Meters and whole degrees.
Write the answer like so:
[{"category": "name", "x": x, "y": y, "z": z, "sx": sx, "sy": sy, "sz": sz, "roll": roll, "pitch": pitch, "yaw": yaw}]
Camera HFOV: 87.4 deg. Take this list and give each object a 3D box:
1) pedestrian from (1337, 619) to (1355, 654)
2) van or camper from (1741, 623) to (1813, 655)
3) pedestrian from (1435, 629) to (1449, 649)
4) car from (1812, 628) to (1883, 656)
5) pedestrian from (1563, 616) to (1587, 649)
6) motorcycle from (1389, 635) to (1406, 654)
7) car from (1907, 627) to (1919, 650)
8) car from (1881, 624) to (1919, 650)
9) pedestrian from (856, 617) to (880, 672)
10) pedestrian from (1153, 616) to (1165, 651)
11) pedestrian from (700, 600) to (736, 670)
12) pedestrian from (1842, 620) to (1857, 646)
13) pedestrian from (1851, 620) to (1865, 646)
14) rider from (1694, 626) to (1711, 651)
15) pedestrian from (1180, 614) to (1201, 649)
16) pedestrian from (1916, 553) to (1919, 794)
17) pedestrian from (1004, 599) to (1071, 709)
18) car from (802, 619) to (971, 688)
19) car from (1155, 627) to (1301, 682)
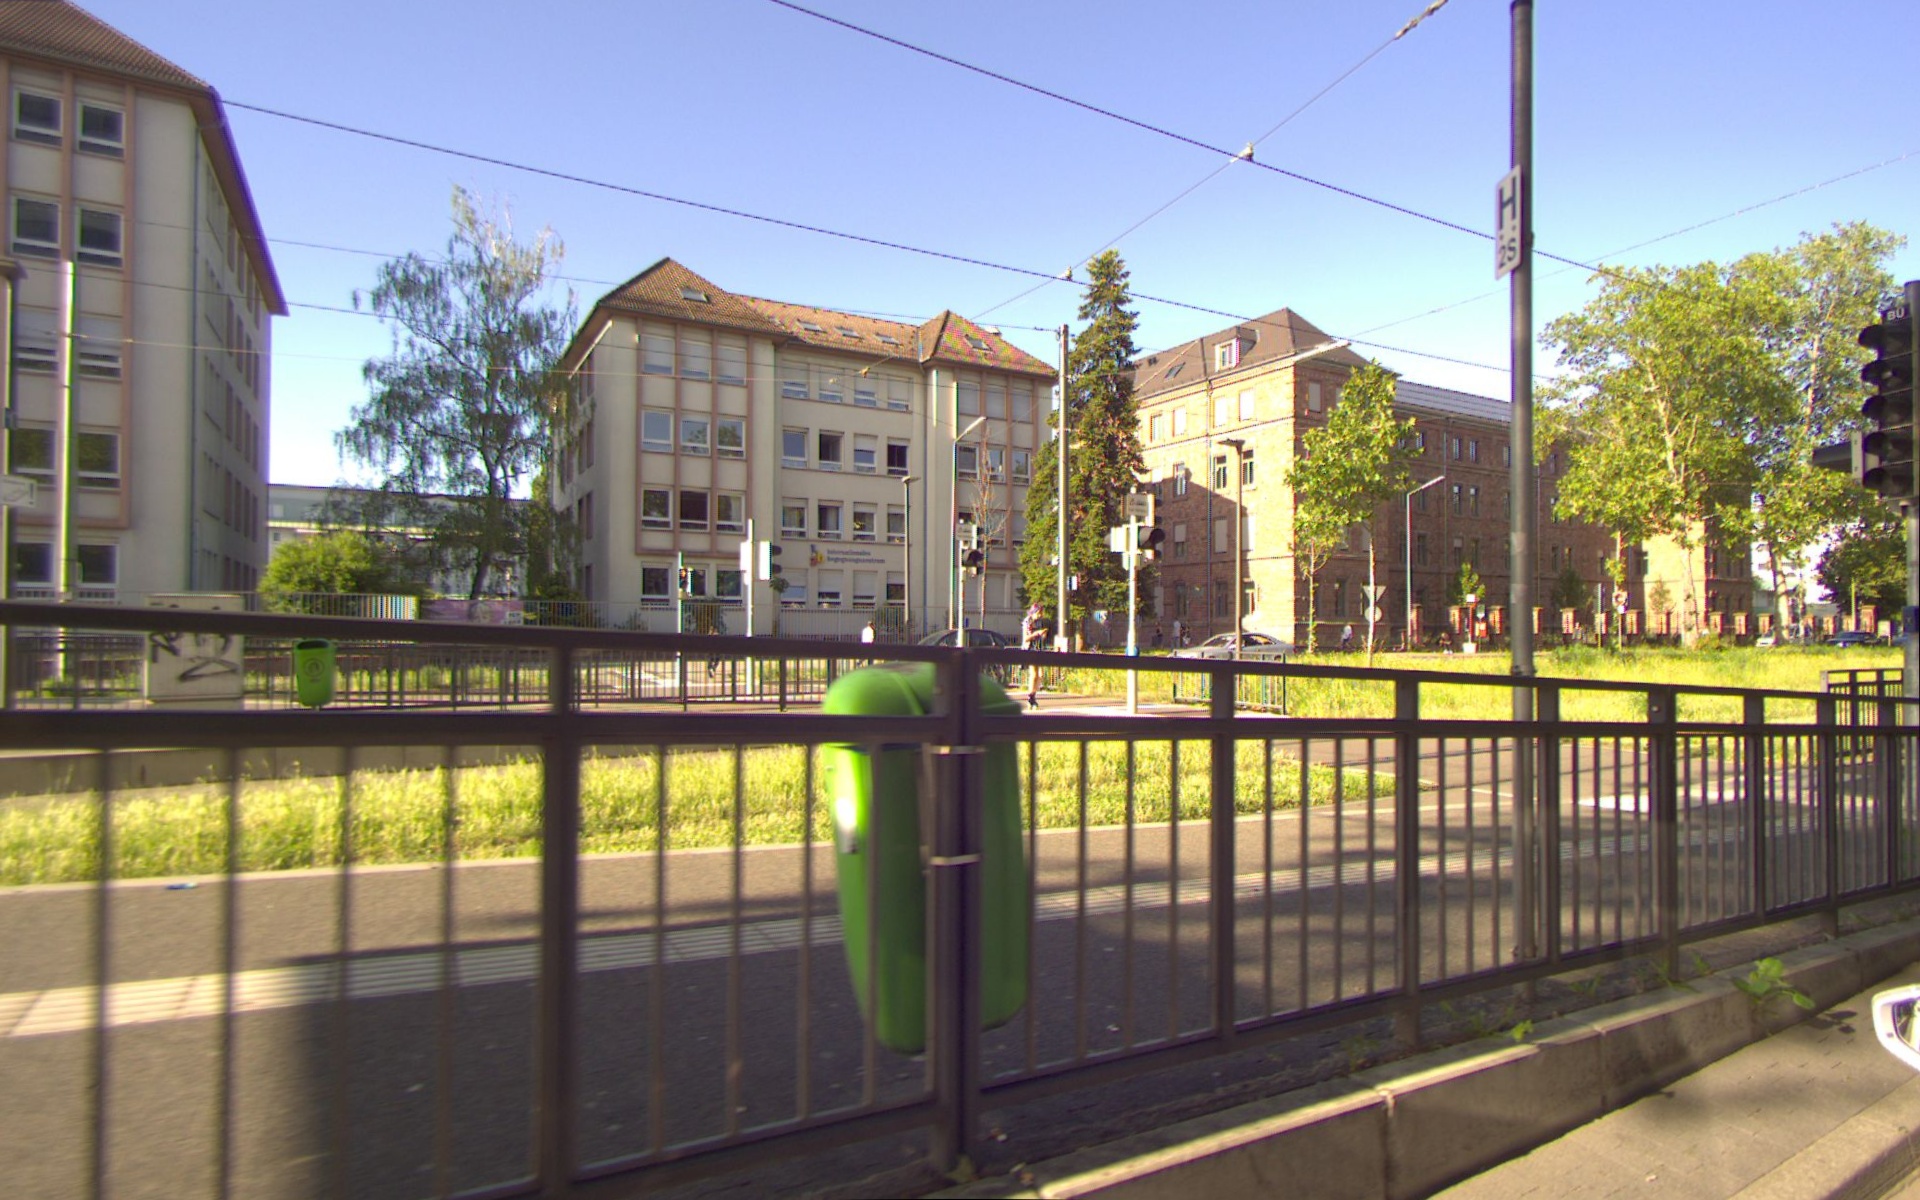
[{"category": "pedestrian", "x": 19.579, "y": 1.835, "z": 50.946, "sx": 0.670, "sy": 1.718, "sz": 0.882, "roll": 0, "pitch": -1, "yaw": 32}, {"category": "van or camper", "x": 47.529, "y": 2.252, "z": 58.392, "sx": 4.384, "sy": 1.811, "sz": 1.983, "roll": 1, "pitch": -2, "yaw": -33}, {"category": "pedestrian", "x": 26.293, "y": 2.117, "z": 54.796, "sx": 0.582, "sy": 1.114, "sz": 0.441, "roll": 1, "pitch": -1, "yaw": -35}, {"category": "car", "x": 56.594, "y": 2.676, "z": 64.045, "sx": 4.769, "sy": 1.671, "sz": 1.984, "roll": 0, "pitch": -1, "yaw": -30}, {"category": "pedestrian", "x": 36.702, "y": 1.924, "z": 59.972, "sx": 0.930, "sy": 1.924, "sz": 0.897, "roll": 1, "pitch": -1, "yaw": -29}, {"category": "motorcycle", "x": 22.844, "y": 2.312, "z": 52.469, "sx": 1.034, "sy": 0.959, "sz": 0.332, "roll": 1, "pitch": -1, "yaw": -34}, {"category": "car", "x": 70.350, "y": 2.776, "z": 72.135, "sx": 4.362, "sy": 1.637, "sz": 1.987, "roll": 1, "pitch": -1, "yaw": -26}, {"category": "car", "x": 65.723, "y": 2.513, "z": 69.296, "sx": 4.362, "sy": 1.742, "sz": 1.762, "roll": 1, "pitch": -1, "yaw": -26}, {"category": "pedestrian", "x": -3.171, "y": 1.531, "z": 34.632, "sx": 0.566, "sy": 1.861, "sz": 0.689, "roll": 1, "pitch": -1, "yaw": -31}, {"category": "pedestrian", "x": 9.910, "y": 1.679, "z": 49.985, "sx": 0.443, "sy": 1.718, "sz": 0.374, "roll": 1, "pitch": -1, "yaw": -24}, {"category": "pedestrian", "x": -7.098, "y": 1.024, "z": 29.490, "sx": 0.850, "sy": 2.040, "sz": 0.659, "roll": 1, "pitch": -1, "yaw": -31}, {"category": "pedestrian", "x": 71.054, "y": 2.640, "z": 80.265, "sx": 0.618, "sy": 2.040, "sz": 0.711, "roll": 1, "pitch": -1, "yaw": -30}, {"category": "pedestrian", "x": 71.403, "y": 2.628, "z": 79.863, "sx": 0.618, "sy": 2.040, "sz": 0.711, "roll": 1, "pitch": -1, "yaw": -30}, {"category": "rider", "x": 50.083, "y": 2.602, "z": 67.753, "sx": 0.678, "sy": 1.666, "sz": 0.725, "roll": 1, "pitch": -1, "yaw": -30}, {"category": "pedestrian", "x": 11.336, "y": 1.544, "z": 49.393, "sx": 0.672, "sy": 1.718, "sz": 0.821, "roll": 0, "pitch": -1, "yaw": 41}, {"category": "pedestrian", "x": 7.298, "y": 0.524, "z": 7.037, "sx": 0.764, "sy": 1.702, "sz": 0.708, "roll": 1, "pitch": -1, "yaw": -32}, {"category": "pedestrian", "x": 1.281, "y": 0.873, "z": 16.625, "sx": 0.721, "sy": 1.759, "sz": 0.949, "roll": 1, "pitch": -1, "yaw": -28}, {"category": "car", "x": -1.974, "y": 1.387, "z": 26.955, "sx": 4.095, "sy": 1.729, "sz": 1.987, "roll": 1, "pitch": -1, "yaw": -27}, {"category": "car", "x": 8.532, "y": 1.681, "z": 31.957, "sx": 4.414, "sy": 1.644, "sz": 1.761, "roll": 1, "pitch": -1, "yaw": -25}]
